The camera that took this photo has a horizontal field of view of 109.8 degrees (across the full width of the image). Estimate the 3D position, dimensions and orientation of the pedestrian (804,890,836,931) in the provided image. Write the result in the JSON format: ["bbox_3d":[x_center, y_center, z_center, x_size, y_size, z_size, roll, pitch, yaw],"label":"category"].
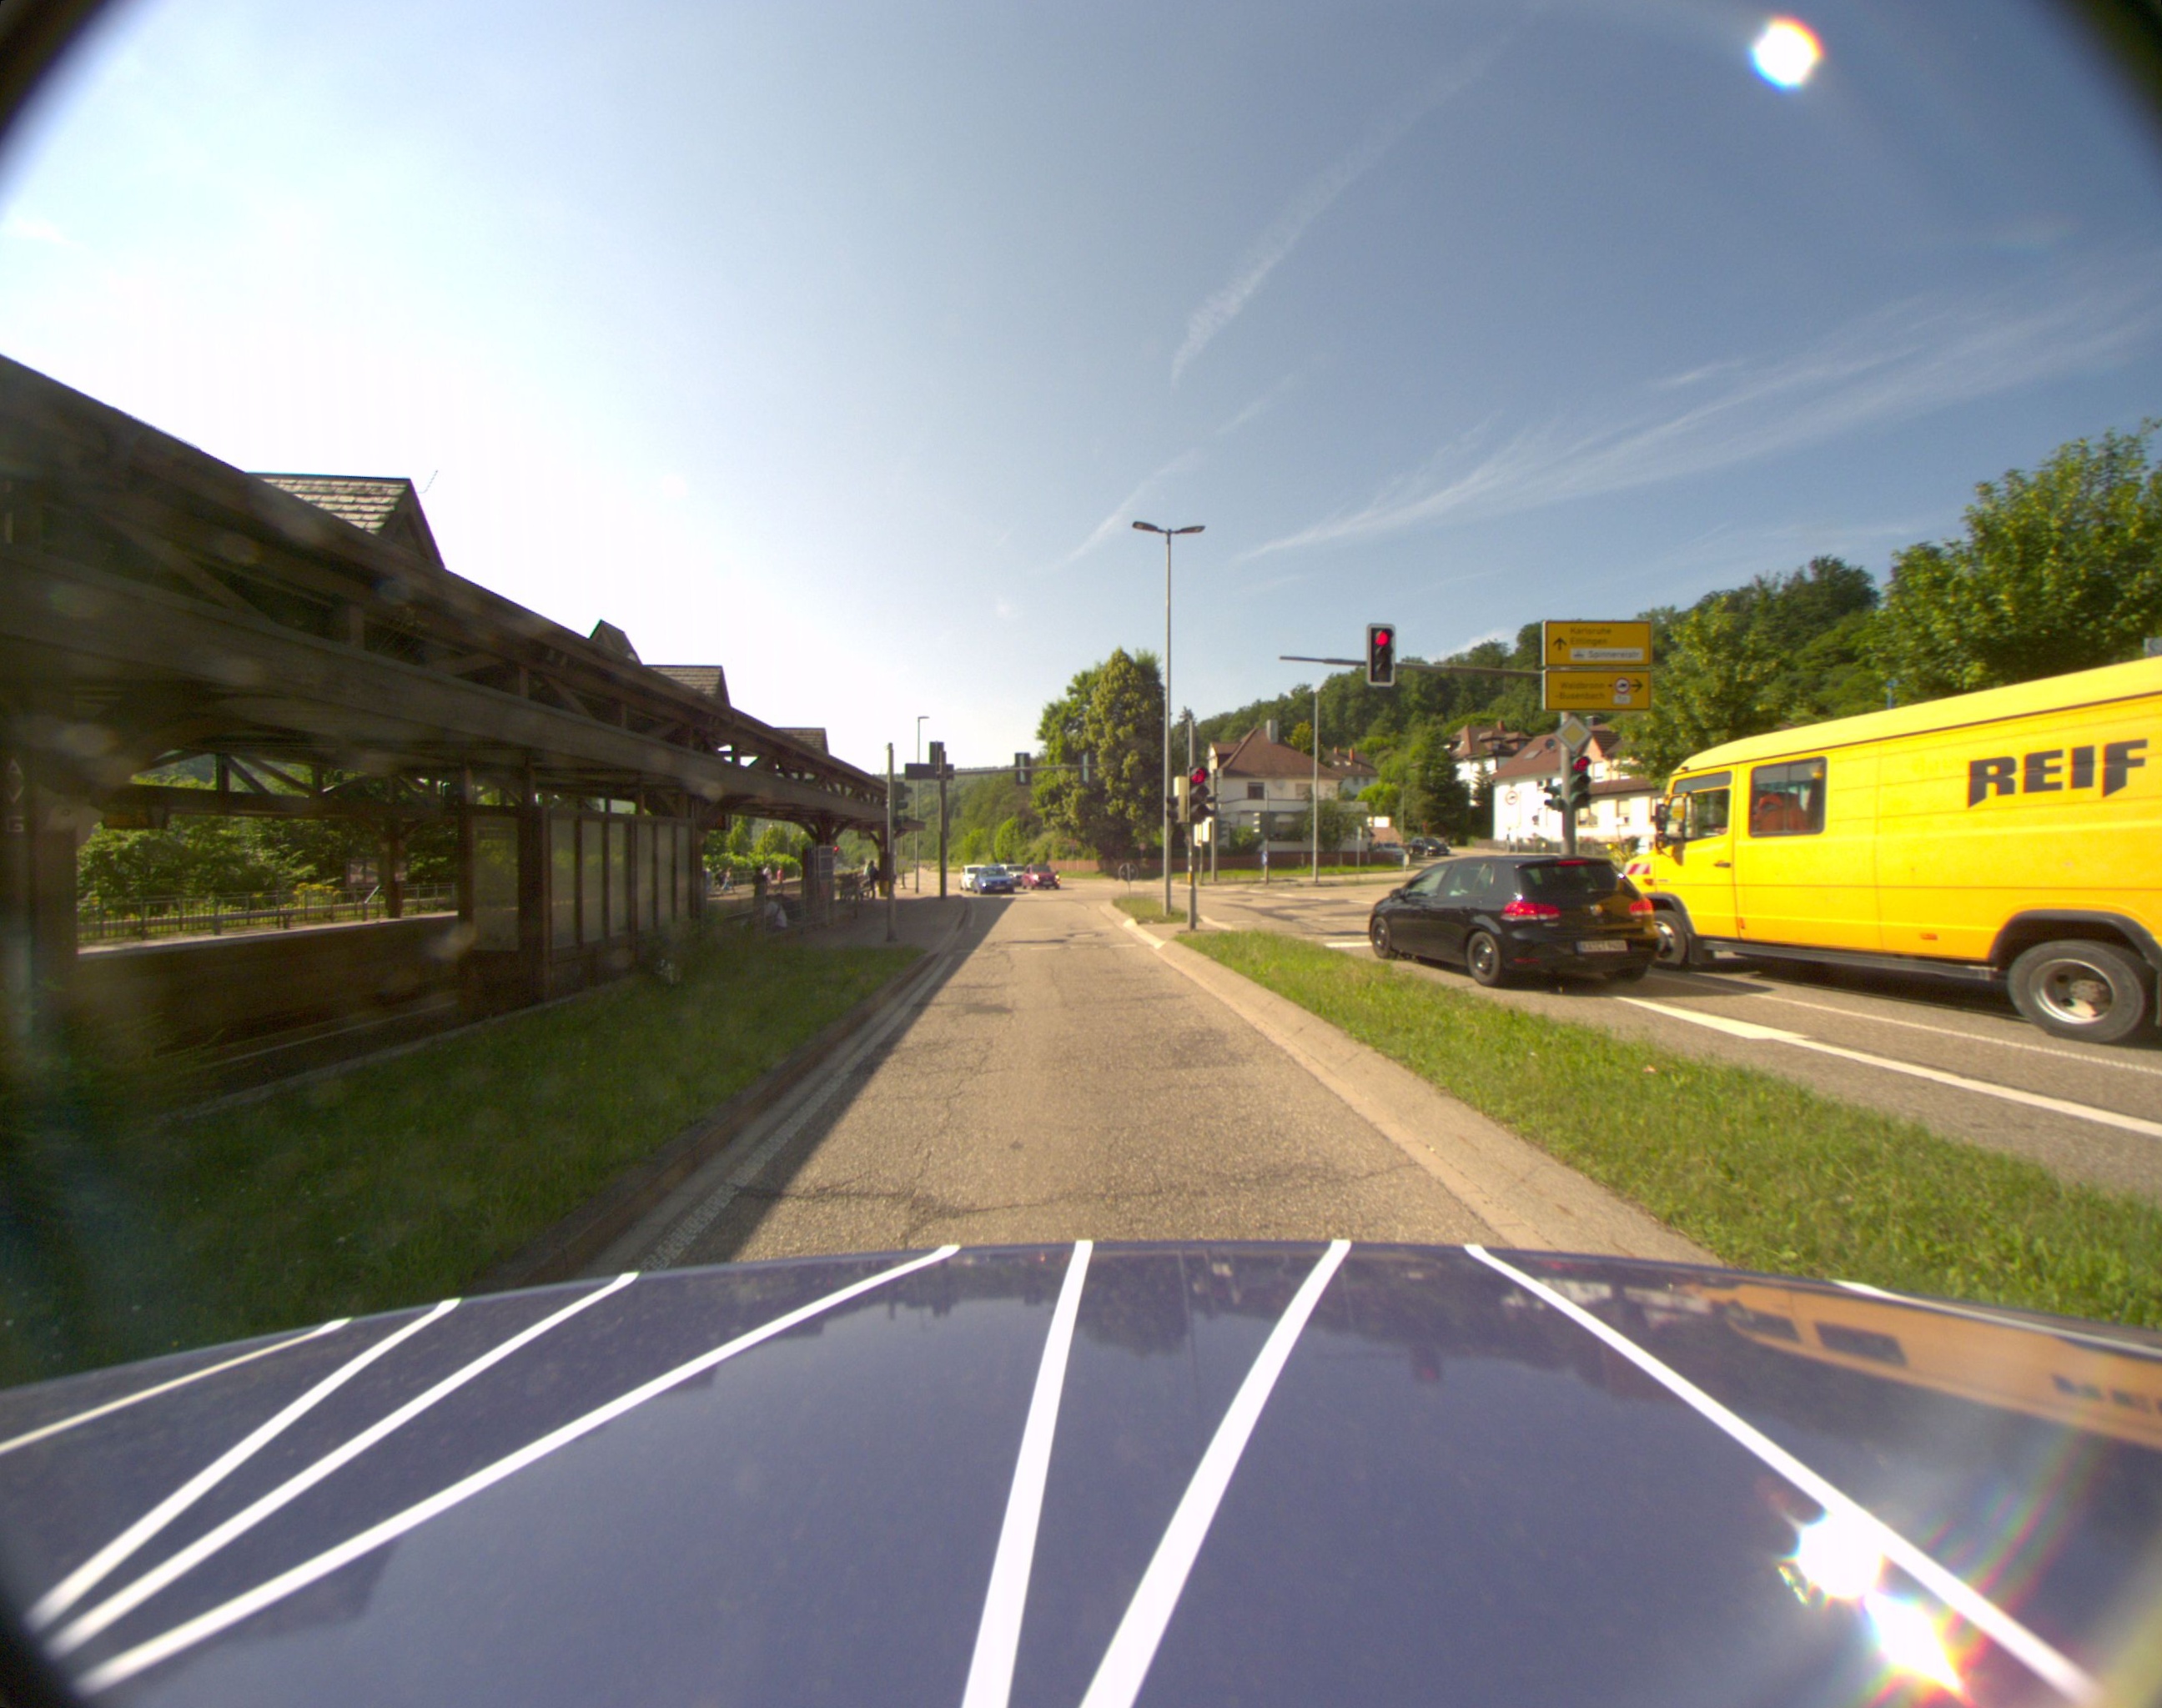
[{"bbox_3d":[-6.474,1.398,18.866,0.619,0.960,0.406,-3,-1,-7],"label":"pedestrian"}]

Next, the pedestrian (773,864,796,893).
[{"bbox_3d":[-18.019,1.479,46.199,0.902,1.674,0.824,-3,-1,27],"label":"pedestrian"}]

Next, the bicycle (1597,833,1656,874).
[{"bbox_3d":[18.290,0.006,25.518,0.620,1.247,1.758,-6,-2,2],"label":"bicycle"}]

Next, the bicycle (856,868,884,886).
[{"bbox_3d":[-13.314,1.442,47.910,1.809,1.049,0.605,-3,1,35],"label":"bicycle"}]

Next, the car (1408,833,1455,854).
[{"bbox_3d":[29.936,-0.933,65.061,1.979,1.477,4.748,-3,4,4],"label":"car"}]

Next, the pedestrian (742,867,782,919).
[{"bbox_3d":[-9.807,1.179,23.381,0.863,1.538,0.922,-1,-1,-5],"label":"pedestrian"}]

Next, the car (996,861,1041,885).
[{"bbox_3d":[-4.231,1.288,50.796,1.982,1.495,4.745,-2,-1,-17],"label":"car"}]

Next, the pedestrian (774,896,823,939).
[{"bbox_3d":[-6.420,1.434,17.314,0.847,0.869,0.807,-3,-1,-7],"label":"pedestrian"}]

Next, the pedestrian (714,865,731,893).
[{"bbox_3d":[-21.699,1.504,46.013,0.558,1.674,0.685,-3,-1,21],"label":"pedestrian"}]

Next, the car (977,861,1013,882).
[{"bbox_3d":[-6.674,1.343,58.672,1.982,1.495,3.982,-2,-1,-17],"label":"car"}]

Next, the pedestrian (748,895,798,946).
[{"bbox_3d":[-6.431,1.380,15.899,0.744,0.976,0.769,-3,-1,-7],"label":"pedestrian"}]

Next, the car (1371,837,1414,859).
[{"bbox_3d":[25.816,-0.433,63.145,1.939,1.627,4.001,-3,-1,2],"label":"car"}]

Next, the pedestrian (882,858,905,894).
[{"bbox_3d":[-9.486,1.107,38.400,0.917,1.726,1.249,-3,-1,-22],"label":"pedestrian"}]

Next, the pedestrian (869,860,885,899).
[{"bbox_3d":[-8.894,1.101,33.140,0.659,1.682,0.738,-1,0,-13],"label":"pedestrian"}]

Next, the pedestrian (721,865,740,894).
[{"bbox_3d":[-20.901,1.521,45.313,0.905,1.674,0.821,-3,-1,-23],"label":"pedestrian"}]

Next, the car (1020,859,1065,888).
[{"bbox_3d":[-2.256,1.102,43.566,1.663,1.525,3.950,-1,-1,-16],"label":"car"}]

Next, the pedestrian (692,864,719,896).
[{"bbox_3d":[-21.899,1.502,44.344,0.990,1.831,1.074,-2,-1,0],"label":"pedestrian"}]

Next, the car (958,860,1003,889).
[{"bbox_3d":[-6.085,1.203,45.649,2.001,1.575,3.994,-3,0,-17],"label":"car"}]

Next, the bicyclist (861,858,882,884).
[{"bbox_3d":[-13.207,1.083,47.903,0.944,1.559,0.788,-3,1,30],"label":"bicyclist"}]

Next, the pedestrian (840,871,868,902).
[{"bbox_3d":[-9.089,1.296,30.448,1.010,1.153,0.948,-2,1,-13],"label":"pedestrian"}]

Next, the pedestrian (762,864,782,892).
[{"bbox_3d":[-19.021,1.468,46.782,0.868,1.674,0.822,-3,-1,-7],"label":"pedestrian"}]

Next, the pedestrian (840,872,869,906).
[{"bbox_3d":[-8.719,1.351,29.266,0.994,1.228,0.596,-3,-1,-14],"label":"pedestrian"}]

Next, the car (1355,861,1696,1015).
[{"bbox_3d":[5.098,0.836,9.475,1.750,1.454,4.042,-1,0,-3],"label":"car"}]

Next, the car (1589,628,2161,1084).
[{"bbox_3d":[8.221,-0.027,6.967,2.474,2.993,6.464,-3,0,-3],"label":"car"}]

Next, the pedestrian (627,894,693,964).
[{"bbox_3d":[-7.253,1.278,13.120,0.744,1.110,0.667,-3,-1,-7],"label":"pedestrian"}]

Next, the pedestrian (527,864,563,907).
[{"bbox_3d":[-21.407,1.244,30.372,0.736,1.674,0.904,-3,-1,0],"label":"pedestrian"}]

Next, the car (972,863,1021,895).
[{"bbox_3d":[-4.405,1.247,39.092,1.867,1.474,4.296,-1,0,-15],"label":"car"}]
